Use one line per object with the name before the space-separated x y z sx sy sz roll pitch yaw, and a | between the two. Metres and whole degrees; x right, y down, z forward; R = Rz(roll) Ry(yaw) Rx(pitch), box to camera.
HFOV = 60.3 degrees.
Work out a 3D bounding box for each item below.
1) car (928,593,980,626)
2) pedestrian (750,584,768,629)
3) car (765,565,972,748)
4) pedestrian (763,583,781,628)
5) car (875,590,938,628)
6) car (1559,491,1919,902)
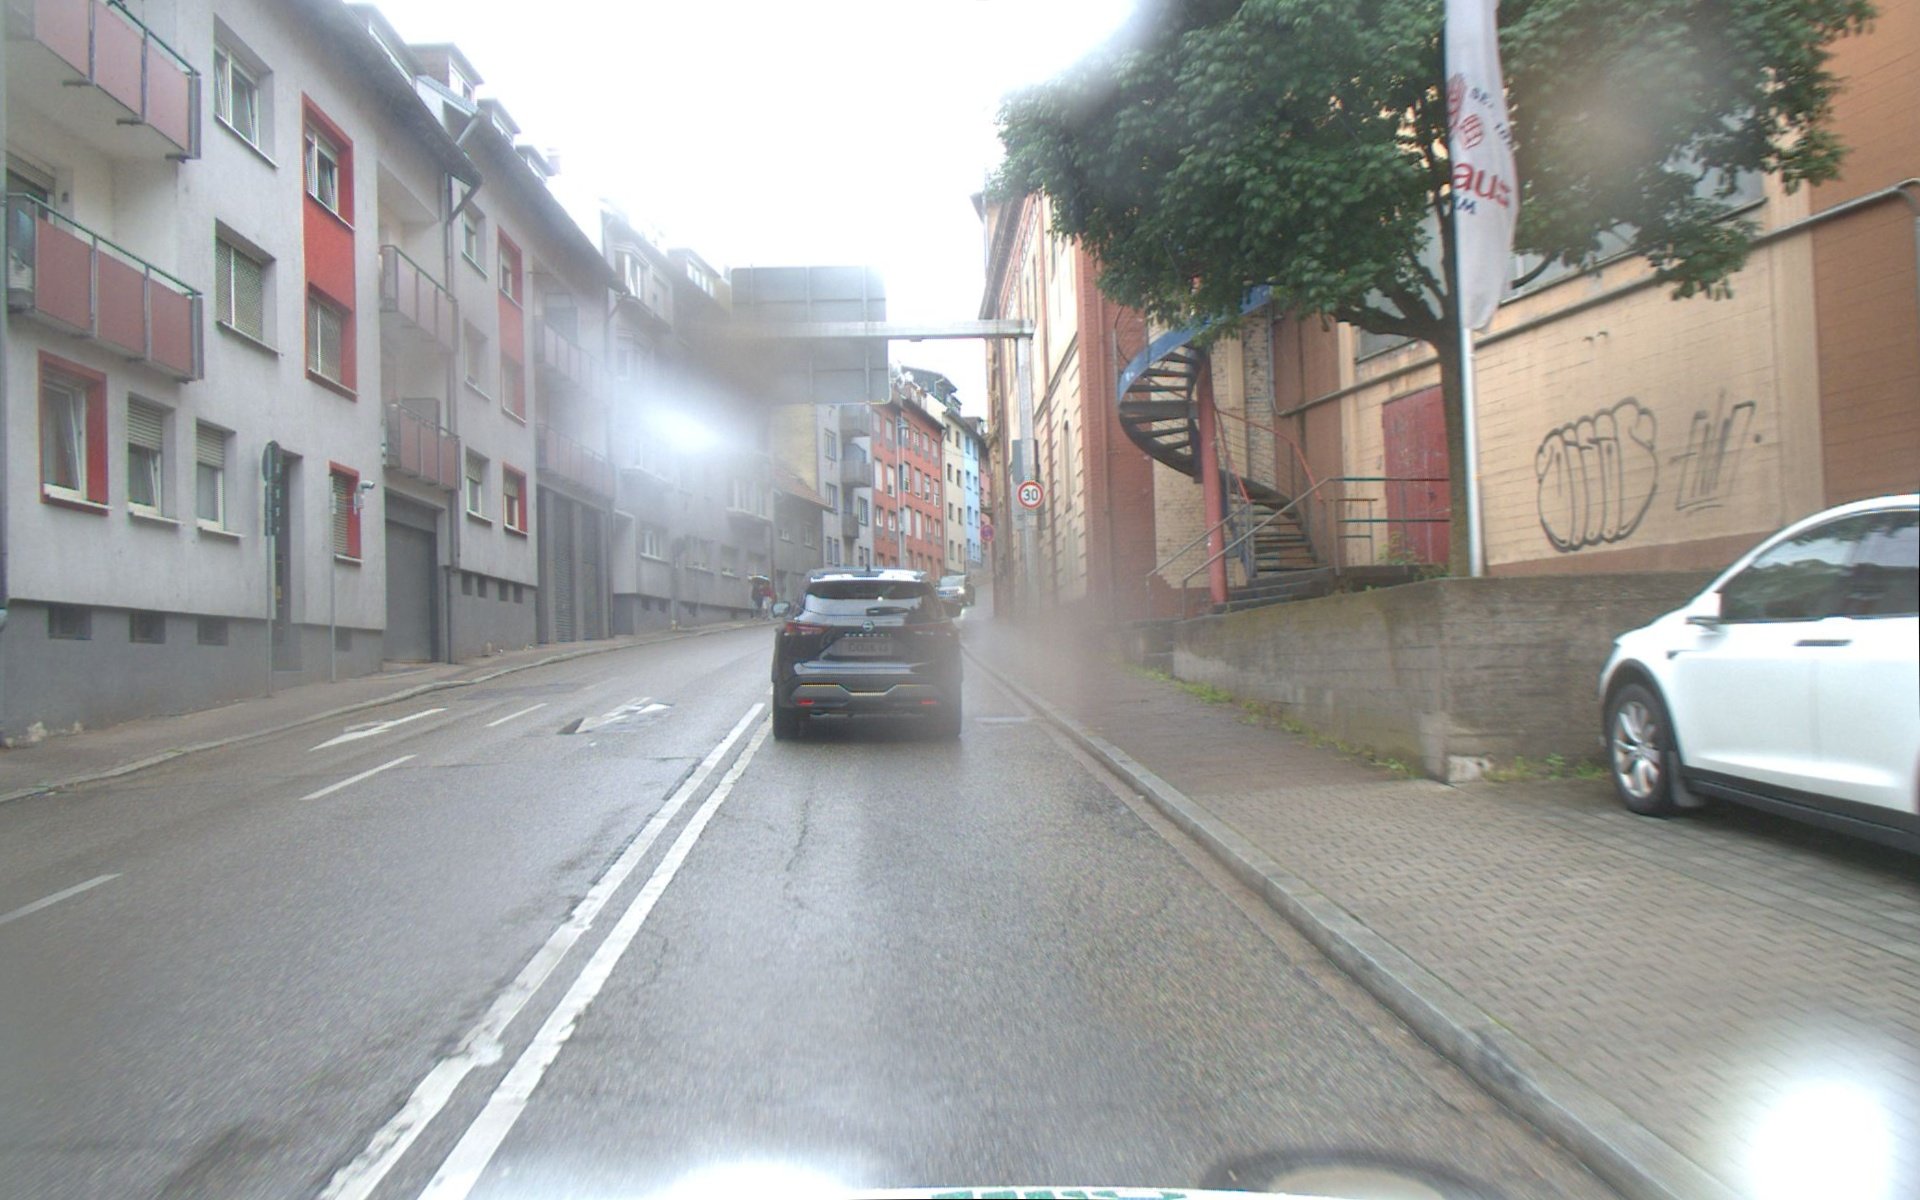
car | -0.296 0.499 84.720 1.756 1.536 4.003 -3 -1 12
pedestrian | -8.396 0.270 69.001 0.512 1.806 0.623 -4 1 3
car | -0.995 0.458 16.764 1.844 1.621 3.917 0 1 -5
pedestrian | -7.853 0.238 68.977 0.512 1.806 0.623 -4 1 3
car | -2.312 0.405 72.749 1.756 1.536 4.003 -3 -1 12
car | 4.682 0.316 7.545 1.816 1.645 4.913 -3 2 -4
